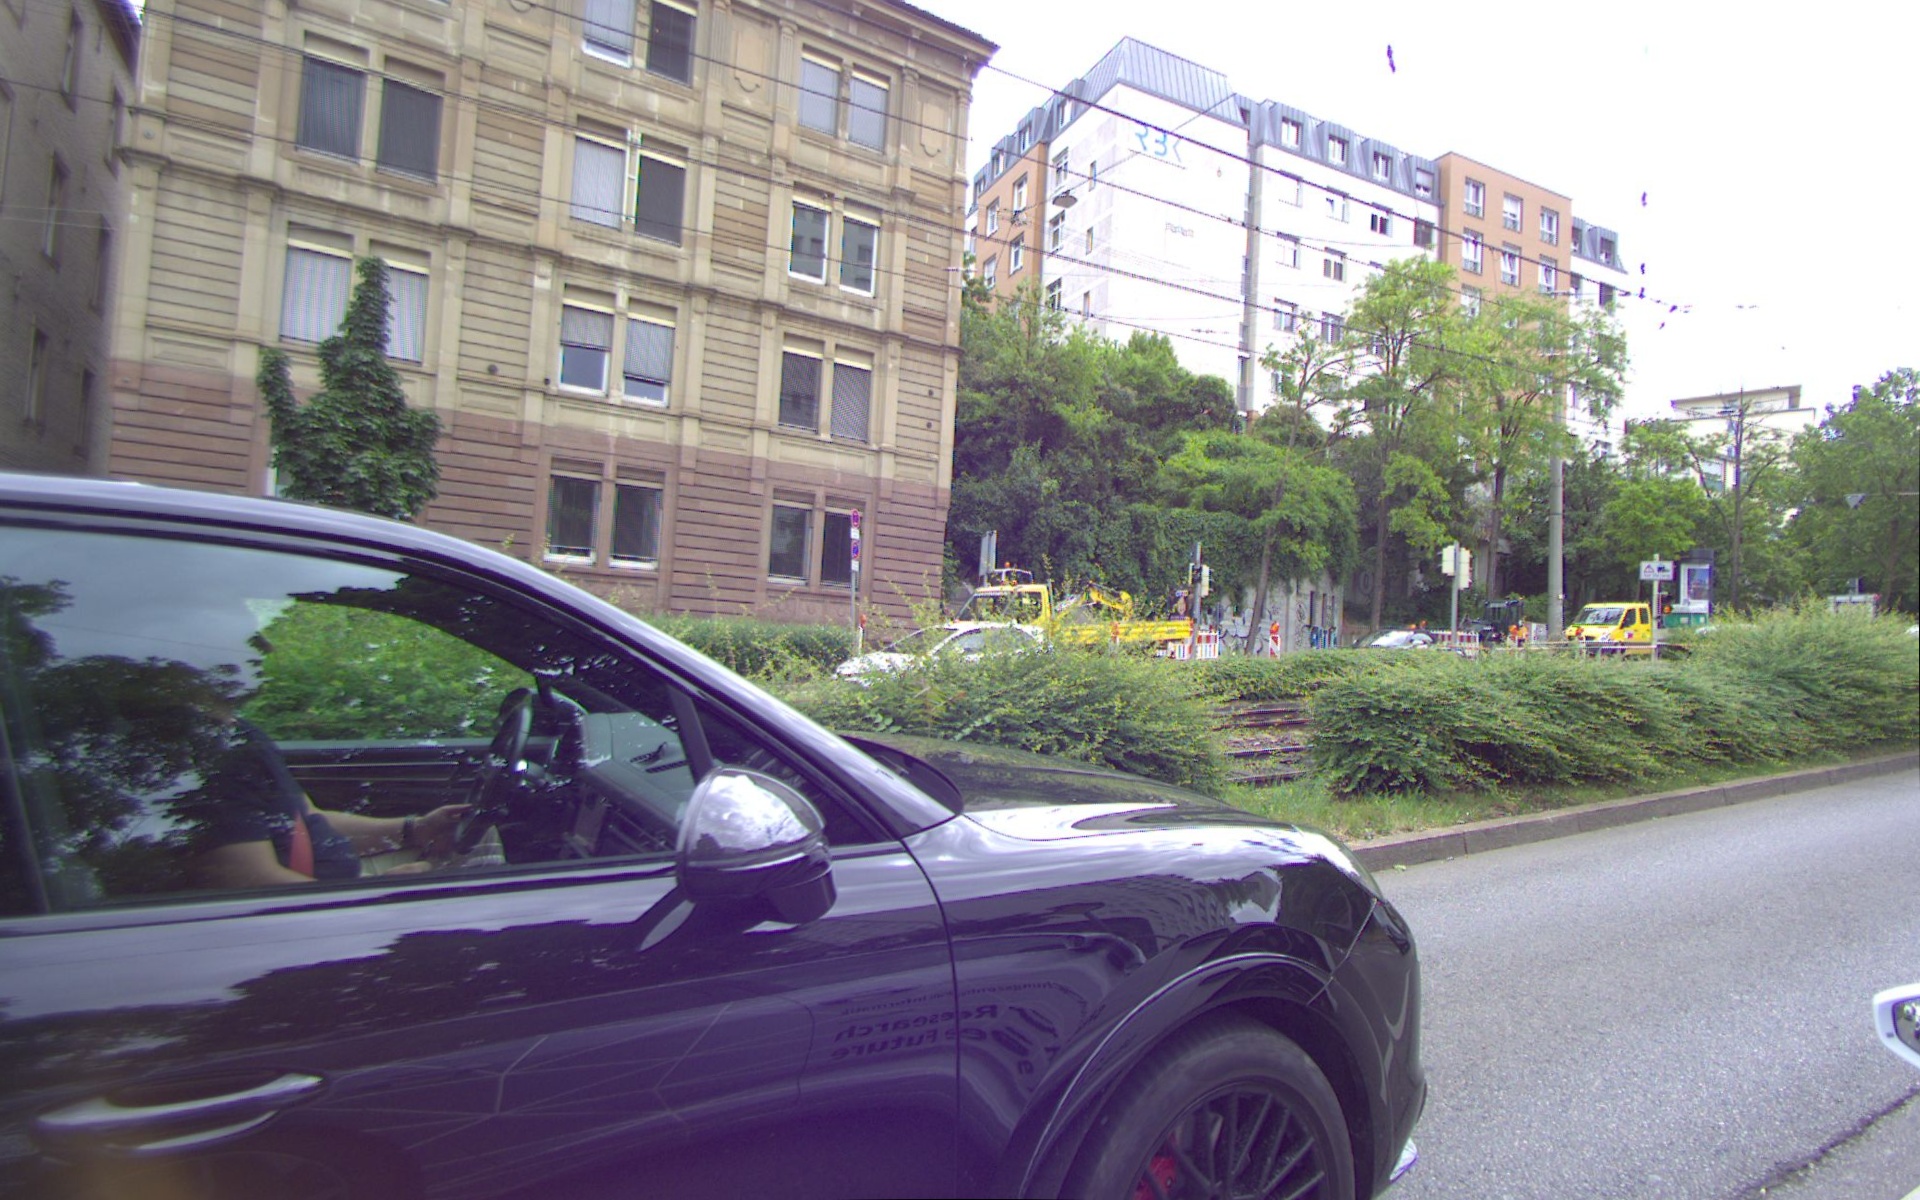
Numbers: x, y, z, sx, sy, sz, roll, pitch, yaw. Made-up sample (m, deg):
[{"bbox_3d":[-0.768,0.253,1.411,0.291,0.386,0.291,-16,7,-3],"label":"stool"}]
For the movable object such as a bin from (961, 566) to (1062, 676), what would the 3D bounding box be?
[{"bbox_3d":[1.419,0.599,27.784,2.010,2.875,1.980,2,-2,-36],"label":"movable object such as a bin"}]

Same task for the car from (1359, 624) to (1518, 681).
[{"bbox_3d":[12.160,1.288,25.464,4.020,1.340,1.731,1,-1,-31],"label":"car"}]

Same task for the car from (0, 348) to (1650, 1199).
[{"bbox_3d":[-1.056,0.668,1.844,4.726,1.707,2.018,3,-2,-30],"label":"car"}]

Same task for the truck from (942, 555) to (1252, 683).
[{"bbox_3d":[3.368,0.582,23.917,7.075,2.542,2.902,4,-3,-32],"label":"truck"}]

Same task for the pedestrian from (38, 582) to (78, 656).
[{"bbox_3d":[-20.925,0.451,23.311,0.554,1.675,0.618,1,-2,-31],"label":"pedestrian"}]

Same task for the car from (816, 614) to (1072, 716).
[{"bbox_3d":[-0.208,1.029,16.835,4.025,1.507,1.729,2,-1,-35],"label":"car"}]
